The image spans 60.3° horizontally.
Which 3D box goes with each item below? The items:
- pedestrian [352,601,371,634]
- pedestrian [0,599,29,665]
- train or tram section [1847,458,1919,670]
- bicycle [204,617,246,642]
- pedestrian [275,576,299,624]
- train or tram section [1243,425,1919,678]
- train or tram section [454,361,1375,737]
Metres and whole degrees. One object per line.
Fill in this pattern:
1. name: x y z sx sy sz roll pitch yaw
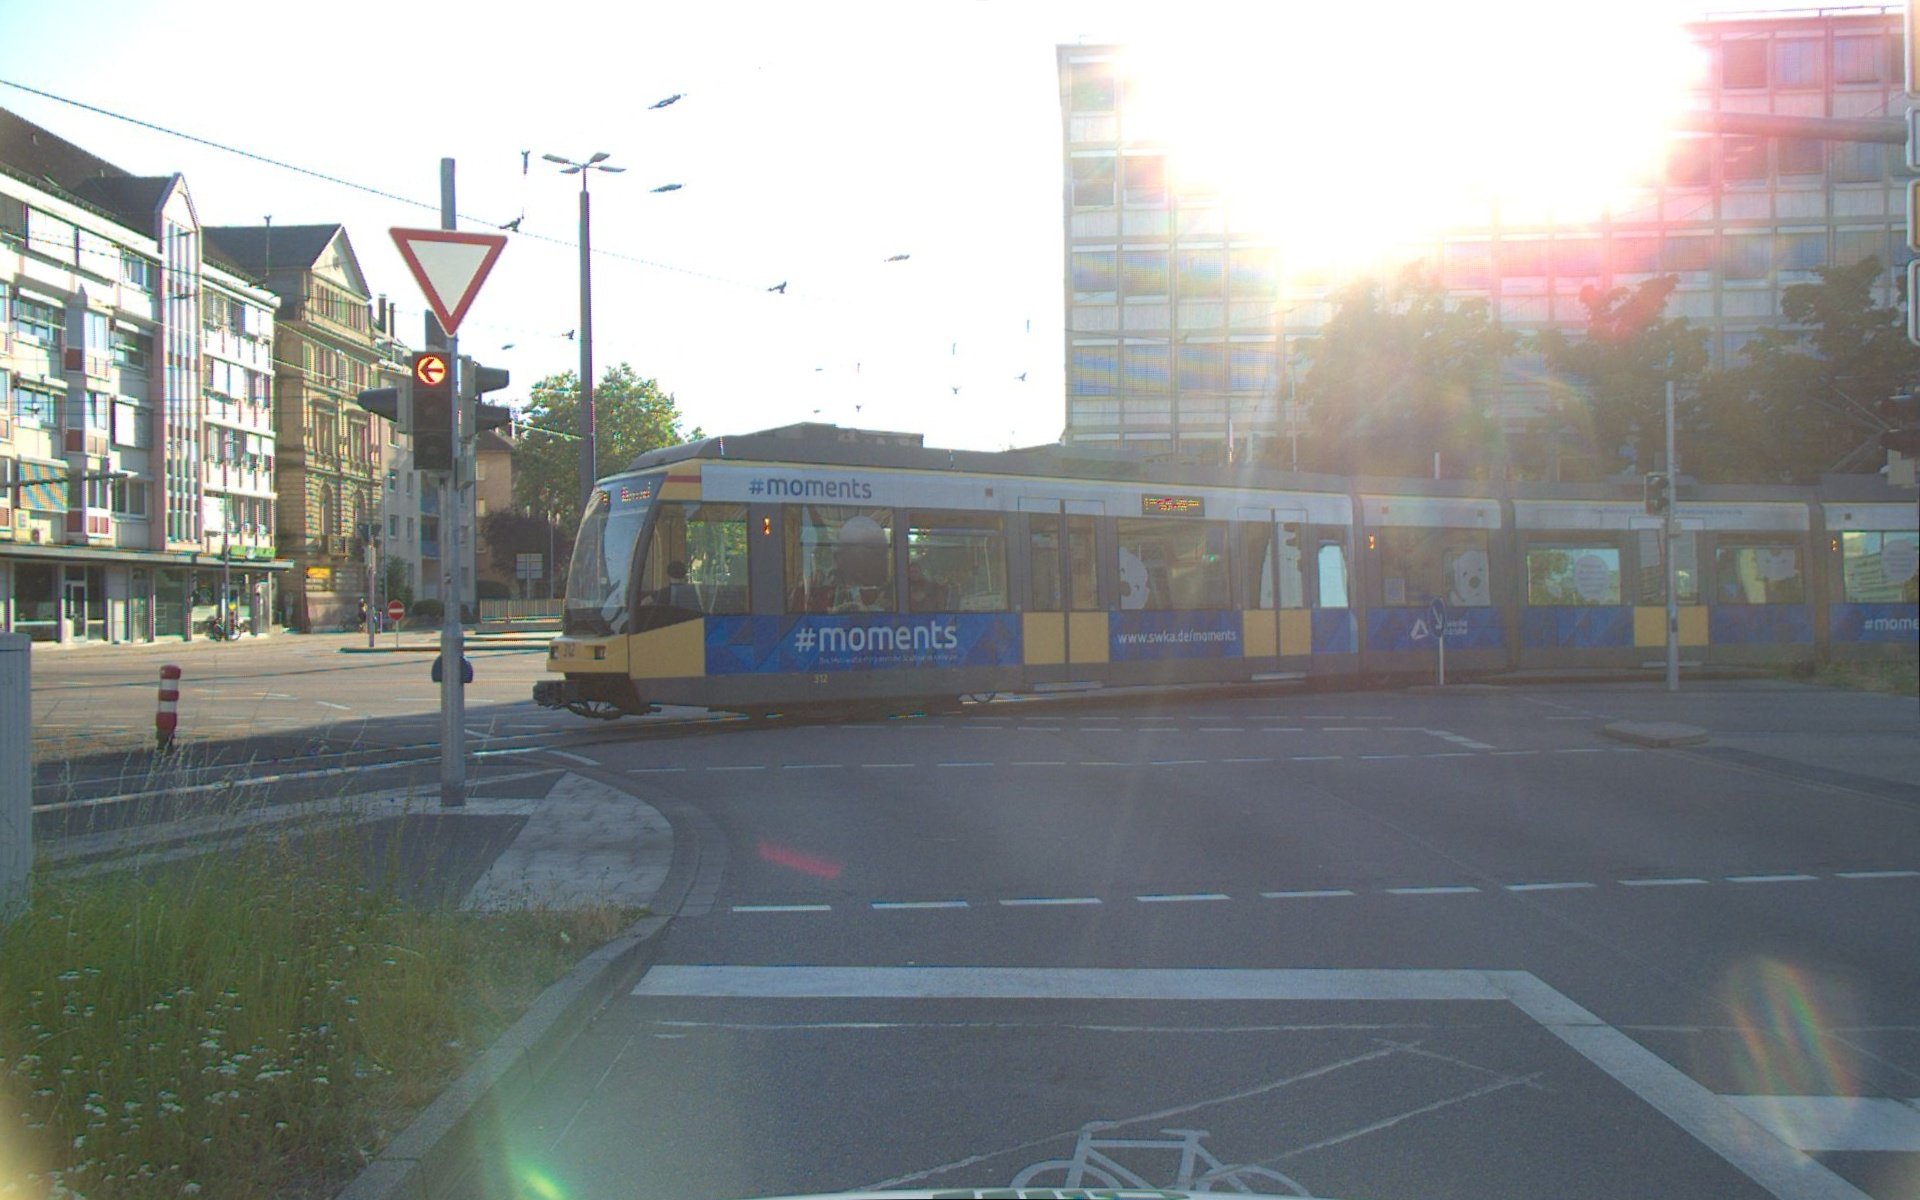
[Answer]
1. pedestrian: -31.782 0.923 87.824 0.681 1.725 0.724 1 -1 -1
2. pedestrian: -30.077 0.983 51.852 1.171 1.913 0.857 1 10 -5
3. train or tram section: 23.986 -0.561 31.190 12.677 3.901 3.714 1 0 -3
4. bicycle: -32.436 1.288 73.015 0.441 1.089 2.093 1 0 16
5. pedestrian: -34.601 -0.020 85.040 0.910 2.440 0.958 1 -1 -11
6. train or tram section: 11.551 -0.722 29.135 12.732 3.900 3.698 0 0 -17
7. train or tram section: 0.121 -0.545 22.788 13.227 3.901 3.664 0 0 -39
